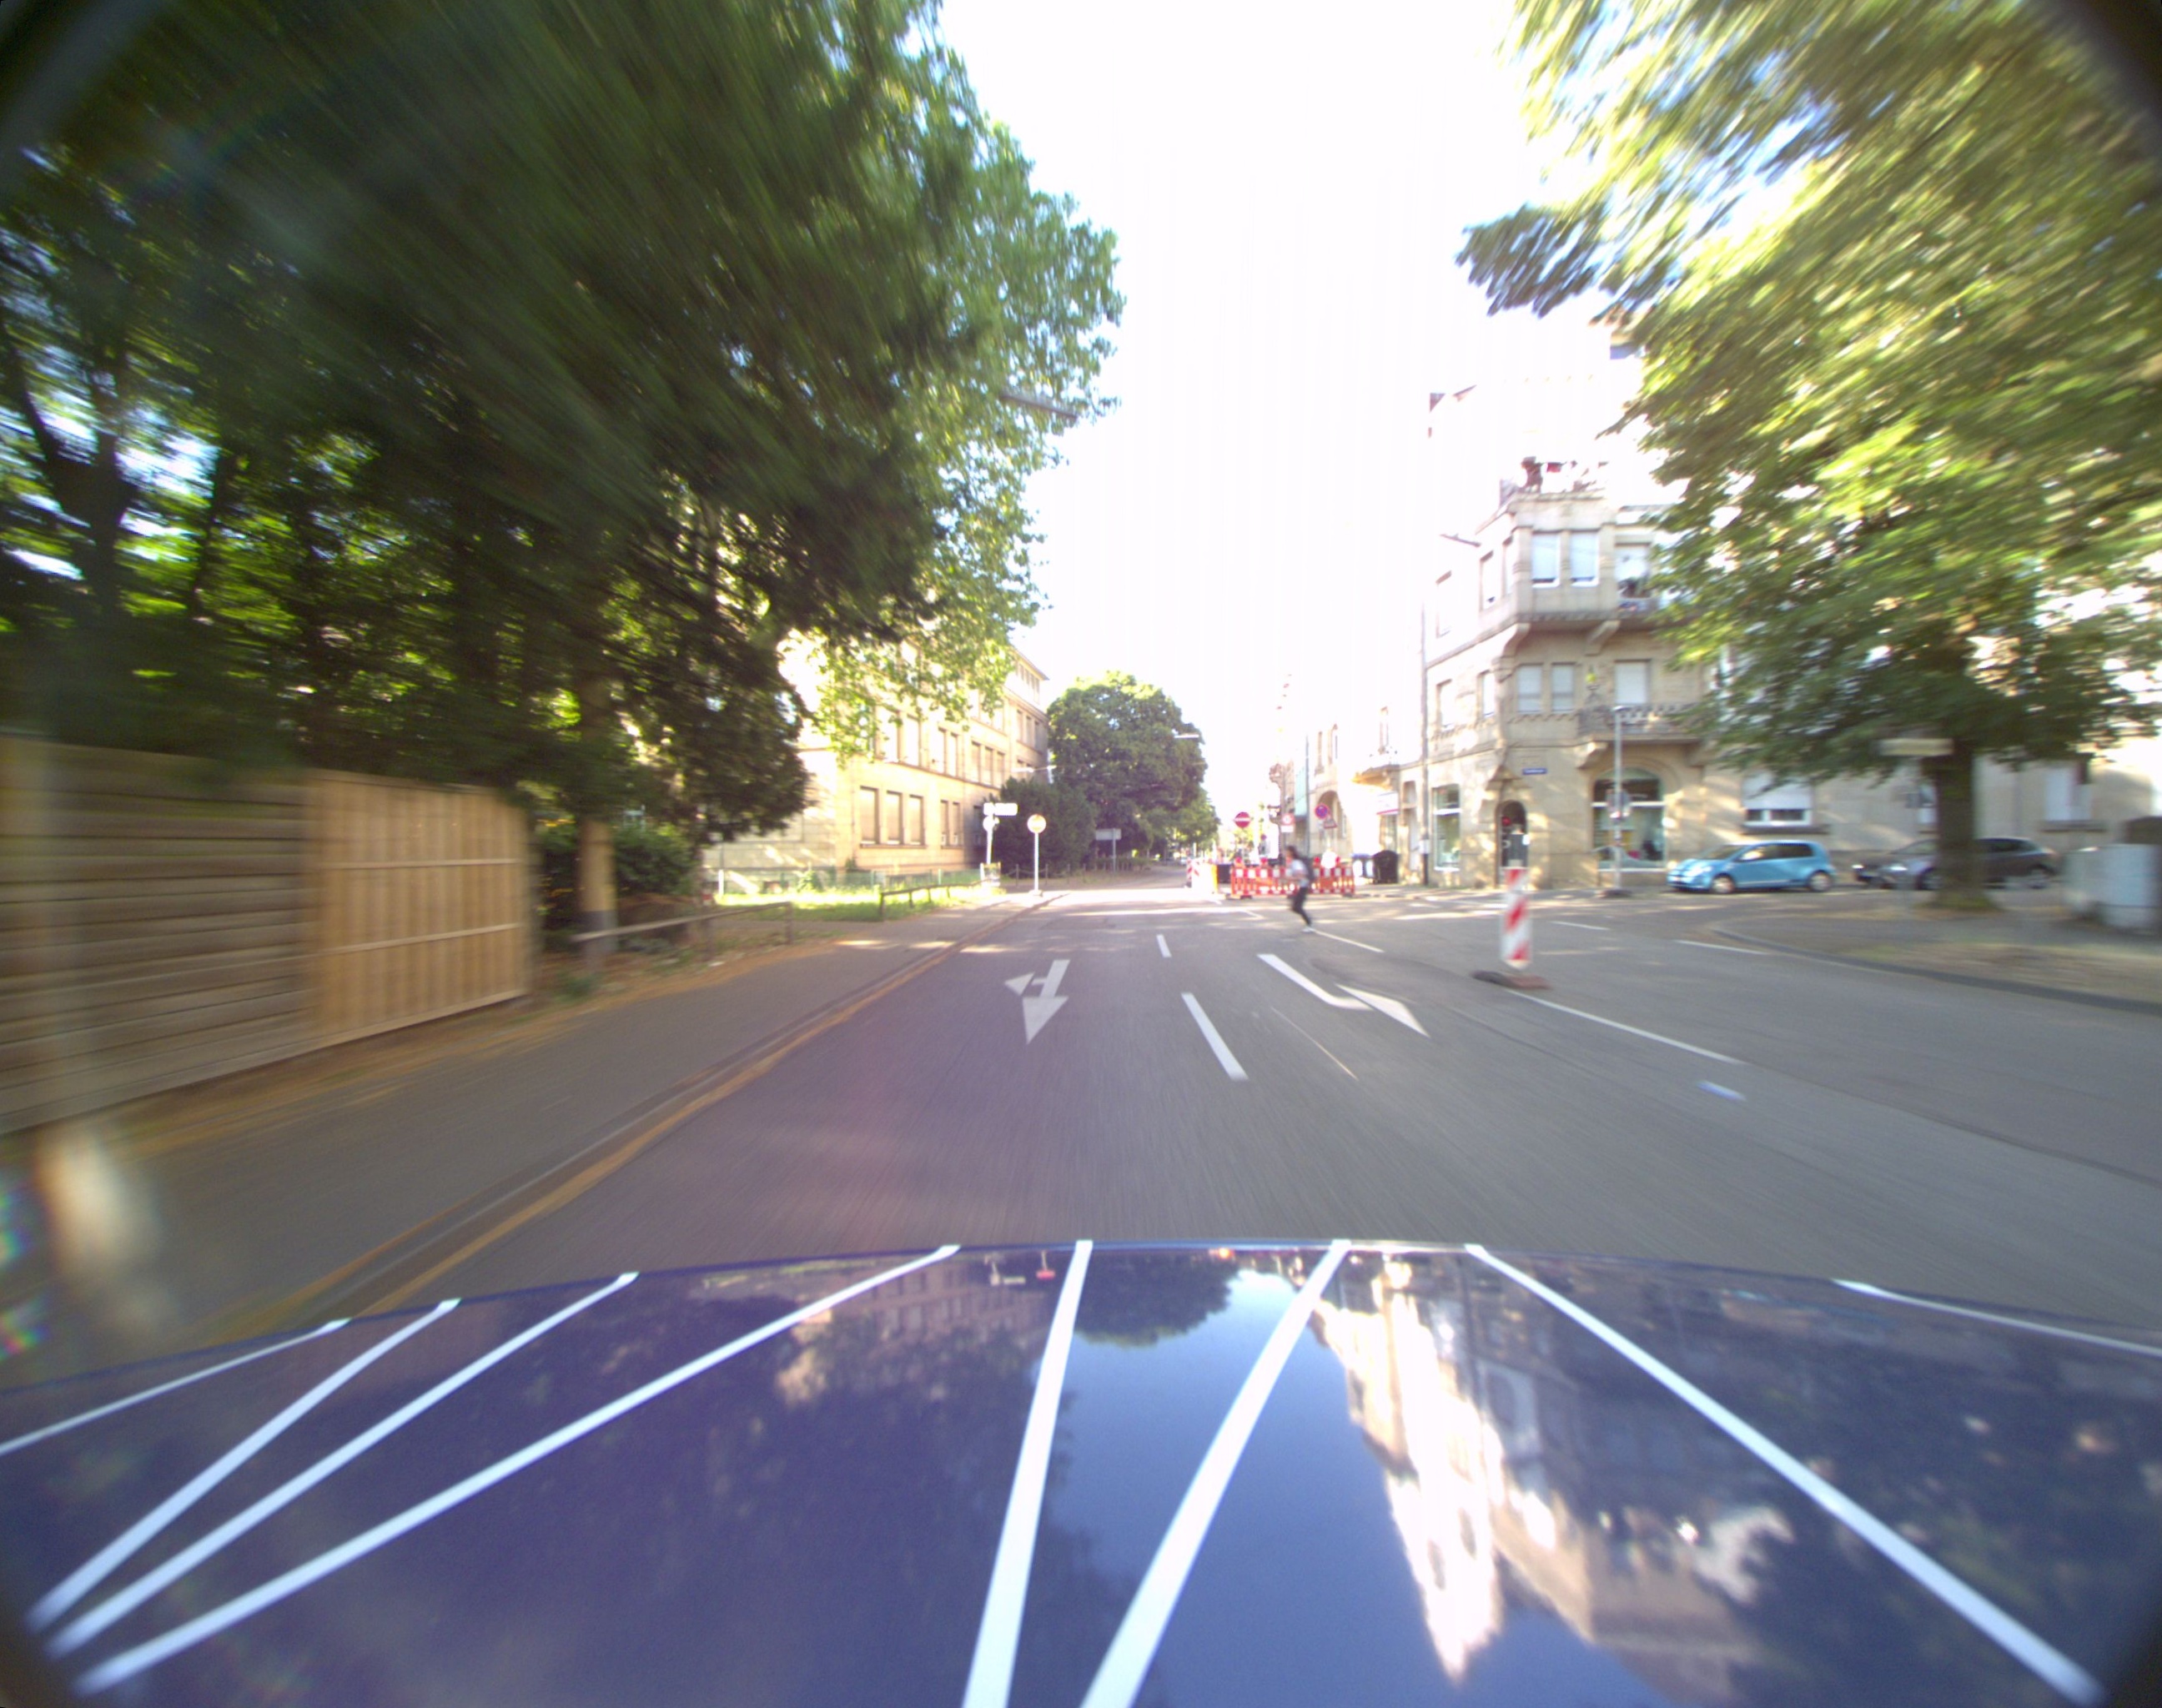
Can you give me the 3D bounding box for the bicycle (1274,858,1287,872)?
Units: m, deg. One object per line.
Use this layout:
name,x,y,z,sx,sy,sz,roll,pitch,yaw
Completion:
bicycle,13.648,0.720,51.956,0.601,0.927,1.474,-2,0,7

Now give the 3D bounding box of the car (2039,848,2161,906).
car,29.254,0.588,20.582,3.996,1.477,2.000,-1,0,2

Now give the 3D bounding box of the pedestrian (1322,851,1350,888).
pedestrian,11.428,0.695,34.097,0.823,1.594,0.917,-2,0,-6

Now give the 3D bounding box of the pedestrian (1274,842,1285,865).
pedestrian,13.621,-0.006,52.054,0.599,1.547,0.616,-2,0,7

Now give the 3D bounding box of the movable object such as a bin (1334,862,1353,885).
movable object such as a bin,12.565,0.938,36.344,0.637,1.035,0.764,-2,0,2

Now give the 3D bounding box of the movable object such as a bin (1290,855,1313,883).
movable object such as a bin,12.021,0.802,41.392,1.084,1.422,1.409,-2,0,18

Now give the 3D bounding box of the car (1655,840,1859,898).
car,19.133,0.418,21.659,3.996,1.543,2.000,-1,0,2

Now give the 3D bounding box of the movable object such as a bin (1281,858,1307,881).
movable object such as a bin,12.035,0.881,42.974,1.085,1.256,1.335,-2,0,4

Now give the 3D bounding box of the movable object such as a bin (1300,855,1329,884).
movable object such as a bin,12.030,0.783,39.215,1.085,1.422,1.407,-2,0,2

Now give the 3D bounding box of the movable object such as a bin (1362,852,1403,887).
movable object such as a bin,12.733,0.660,32.133,1.085,1.422,1.345,-2,0,-3

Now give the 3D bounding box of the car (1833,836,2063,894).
car,23.775,0.290,20.983,3.996,1.477,2.000,-1,0,2

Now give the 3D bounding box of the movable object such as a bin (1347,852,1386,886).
movable object such as a bin,12.611,0.668,33.600,1.085,1.422,1.407,-2,0,-3

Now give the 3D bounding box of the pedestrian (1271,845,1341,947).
pedestrian,4.074,0.740,13.867,1.045,1.771,1.192,-1,0,8
